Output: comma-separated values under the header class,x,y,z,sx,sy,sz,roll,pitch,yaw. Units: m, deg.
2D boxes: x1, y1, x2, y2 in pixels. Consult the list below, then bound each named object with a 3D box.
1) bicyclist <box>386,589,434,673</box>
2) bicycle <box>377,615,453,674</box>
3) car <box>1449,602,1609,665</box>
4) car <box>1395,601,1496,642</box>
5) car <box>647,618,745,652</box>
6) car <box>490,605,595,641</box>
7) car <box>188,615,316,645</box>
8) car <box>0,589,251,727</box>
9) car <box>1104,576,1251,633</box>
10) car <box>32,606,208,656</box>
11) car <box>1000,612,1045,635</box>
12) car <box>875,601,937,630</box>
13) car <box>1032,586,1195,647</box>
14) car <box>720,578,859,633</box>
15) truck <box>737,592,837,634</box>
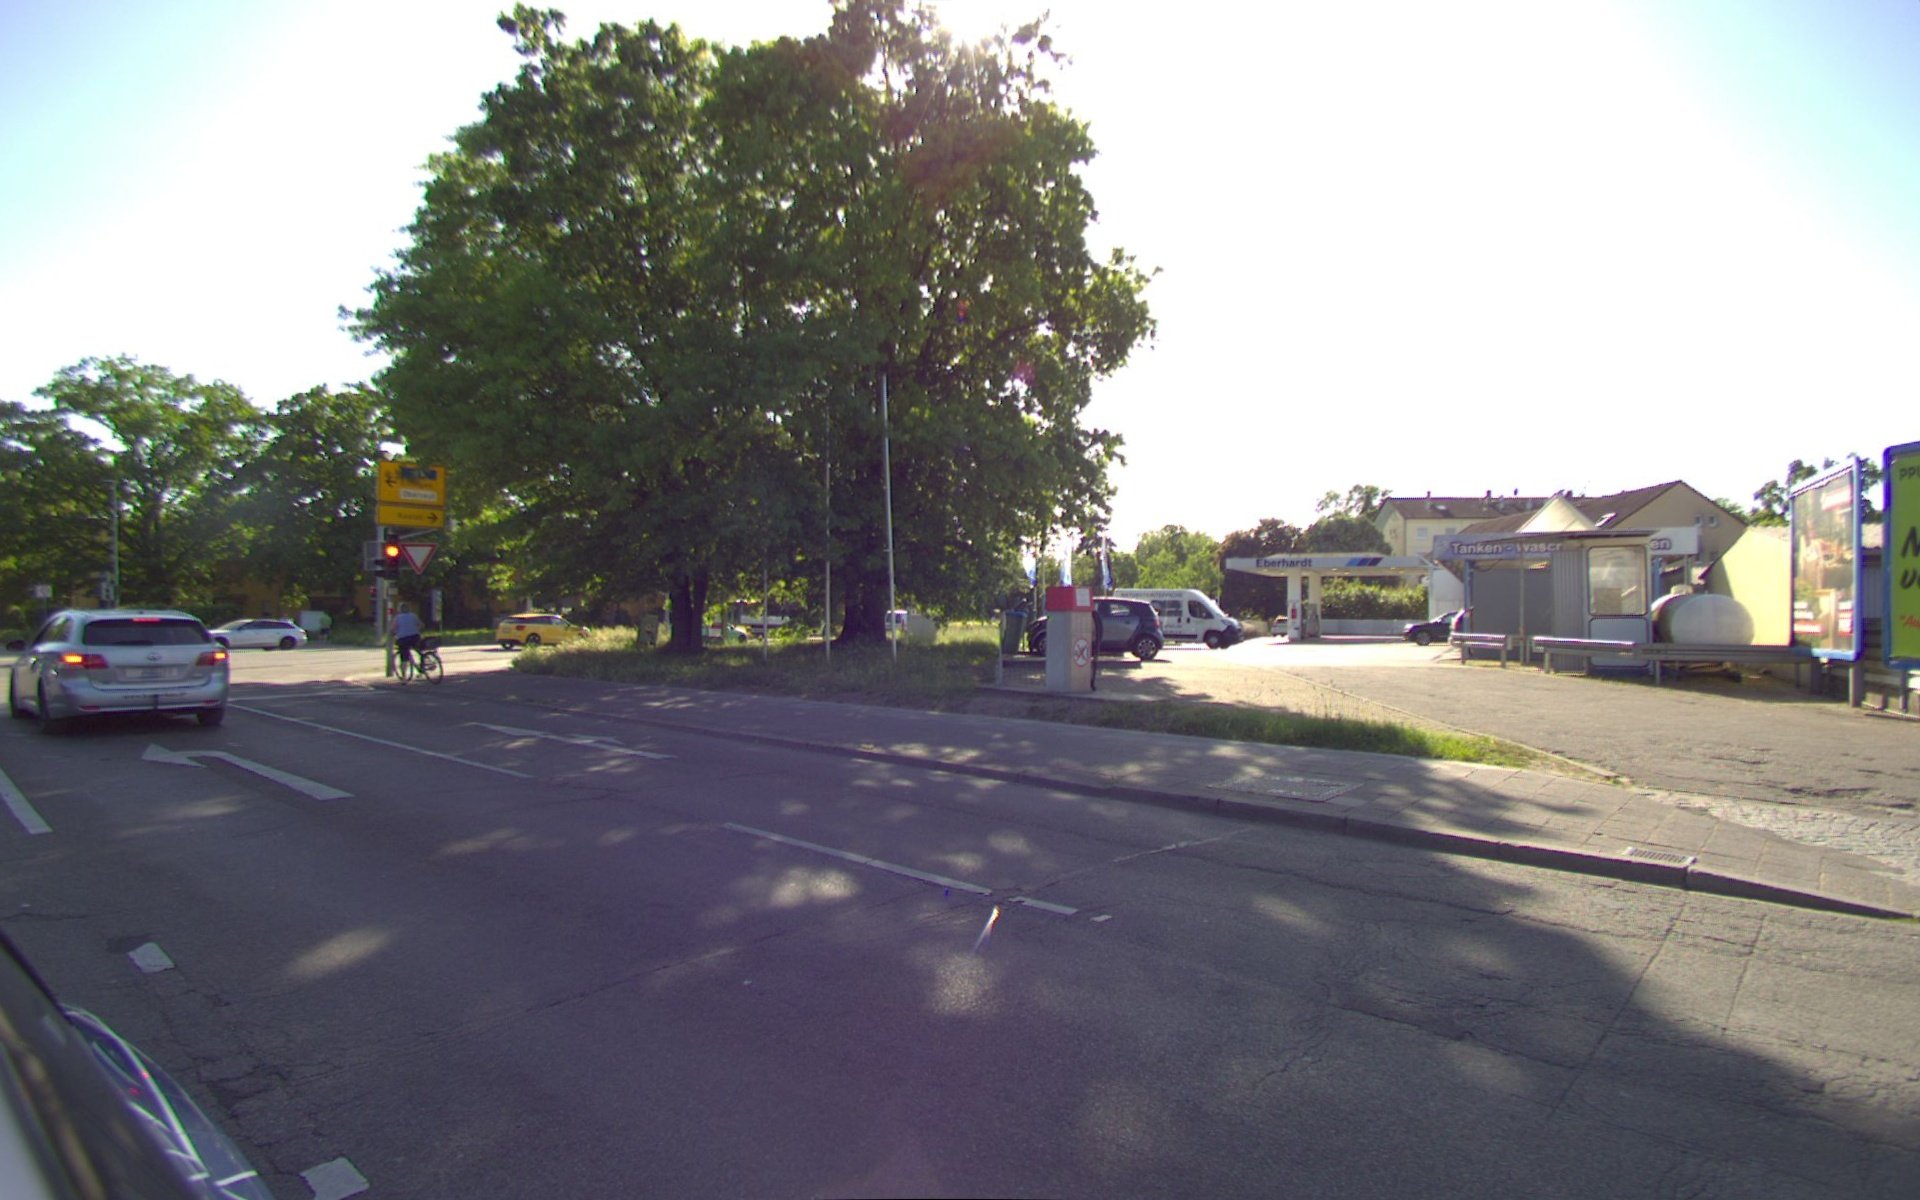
class,x,y,z,sx,sy,sz,roll,pitch,yaw
bicyclist,-11.054,0.615,20.347,0.828,1.654,0.536,-1,-1,35
bicycle,-10.935,0.871,20.285,2.022,1.150,0.522,-1,-1,36
car,16.758,0.953,30.023,3.982,1.619,1.981,2,0,28
car,22.396,0.956,46.726,4.064,1.684,1.571,2,0,28
car,-12.481,1.619,48.075,1.916,1.497,4.315,2,0,34
car,-18.153,0.985,44.184,1.685,1.451,4.081,0,-1,28
car,-31.526,1.299,45.218,1.684,1.238,4.460,-1,-1,27
car,-11.156,0.669,13.340,4.887,1.500,1.817,-1,-2,41
car,9.057,0.156,42.290,5.627,2.115,1.981,2,0,28
car,-25.963,0.922,31.410,1.685,1.451,3.874,0,-1,28
car,4.889,1.785,78.743,1.820,1.696,4.348,1,0,29
car,-3.395,0.971,64.650,1.913,1.741,4.321,2,0,29
car,3.864,0.404,25.914,3.951,1.386,1.757,2,0,6
car,-5.250,0.159,31.236,3.969,1.523,1.522,2,0,20
truck,-10.066,0.776,59.554,2.181,2.327,6.710,-1,-1,28
